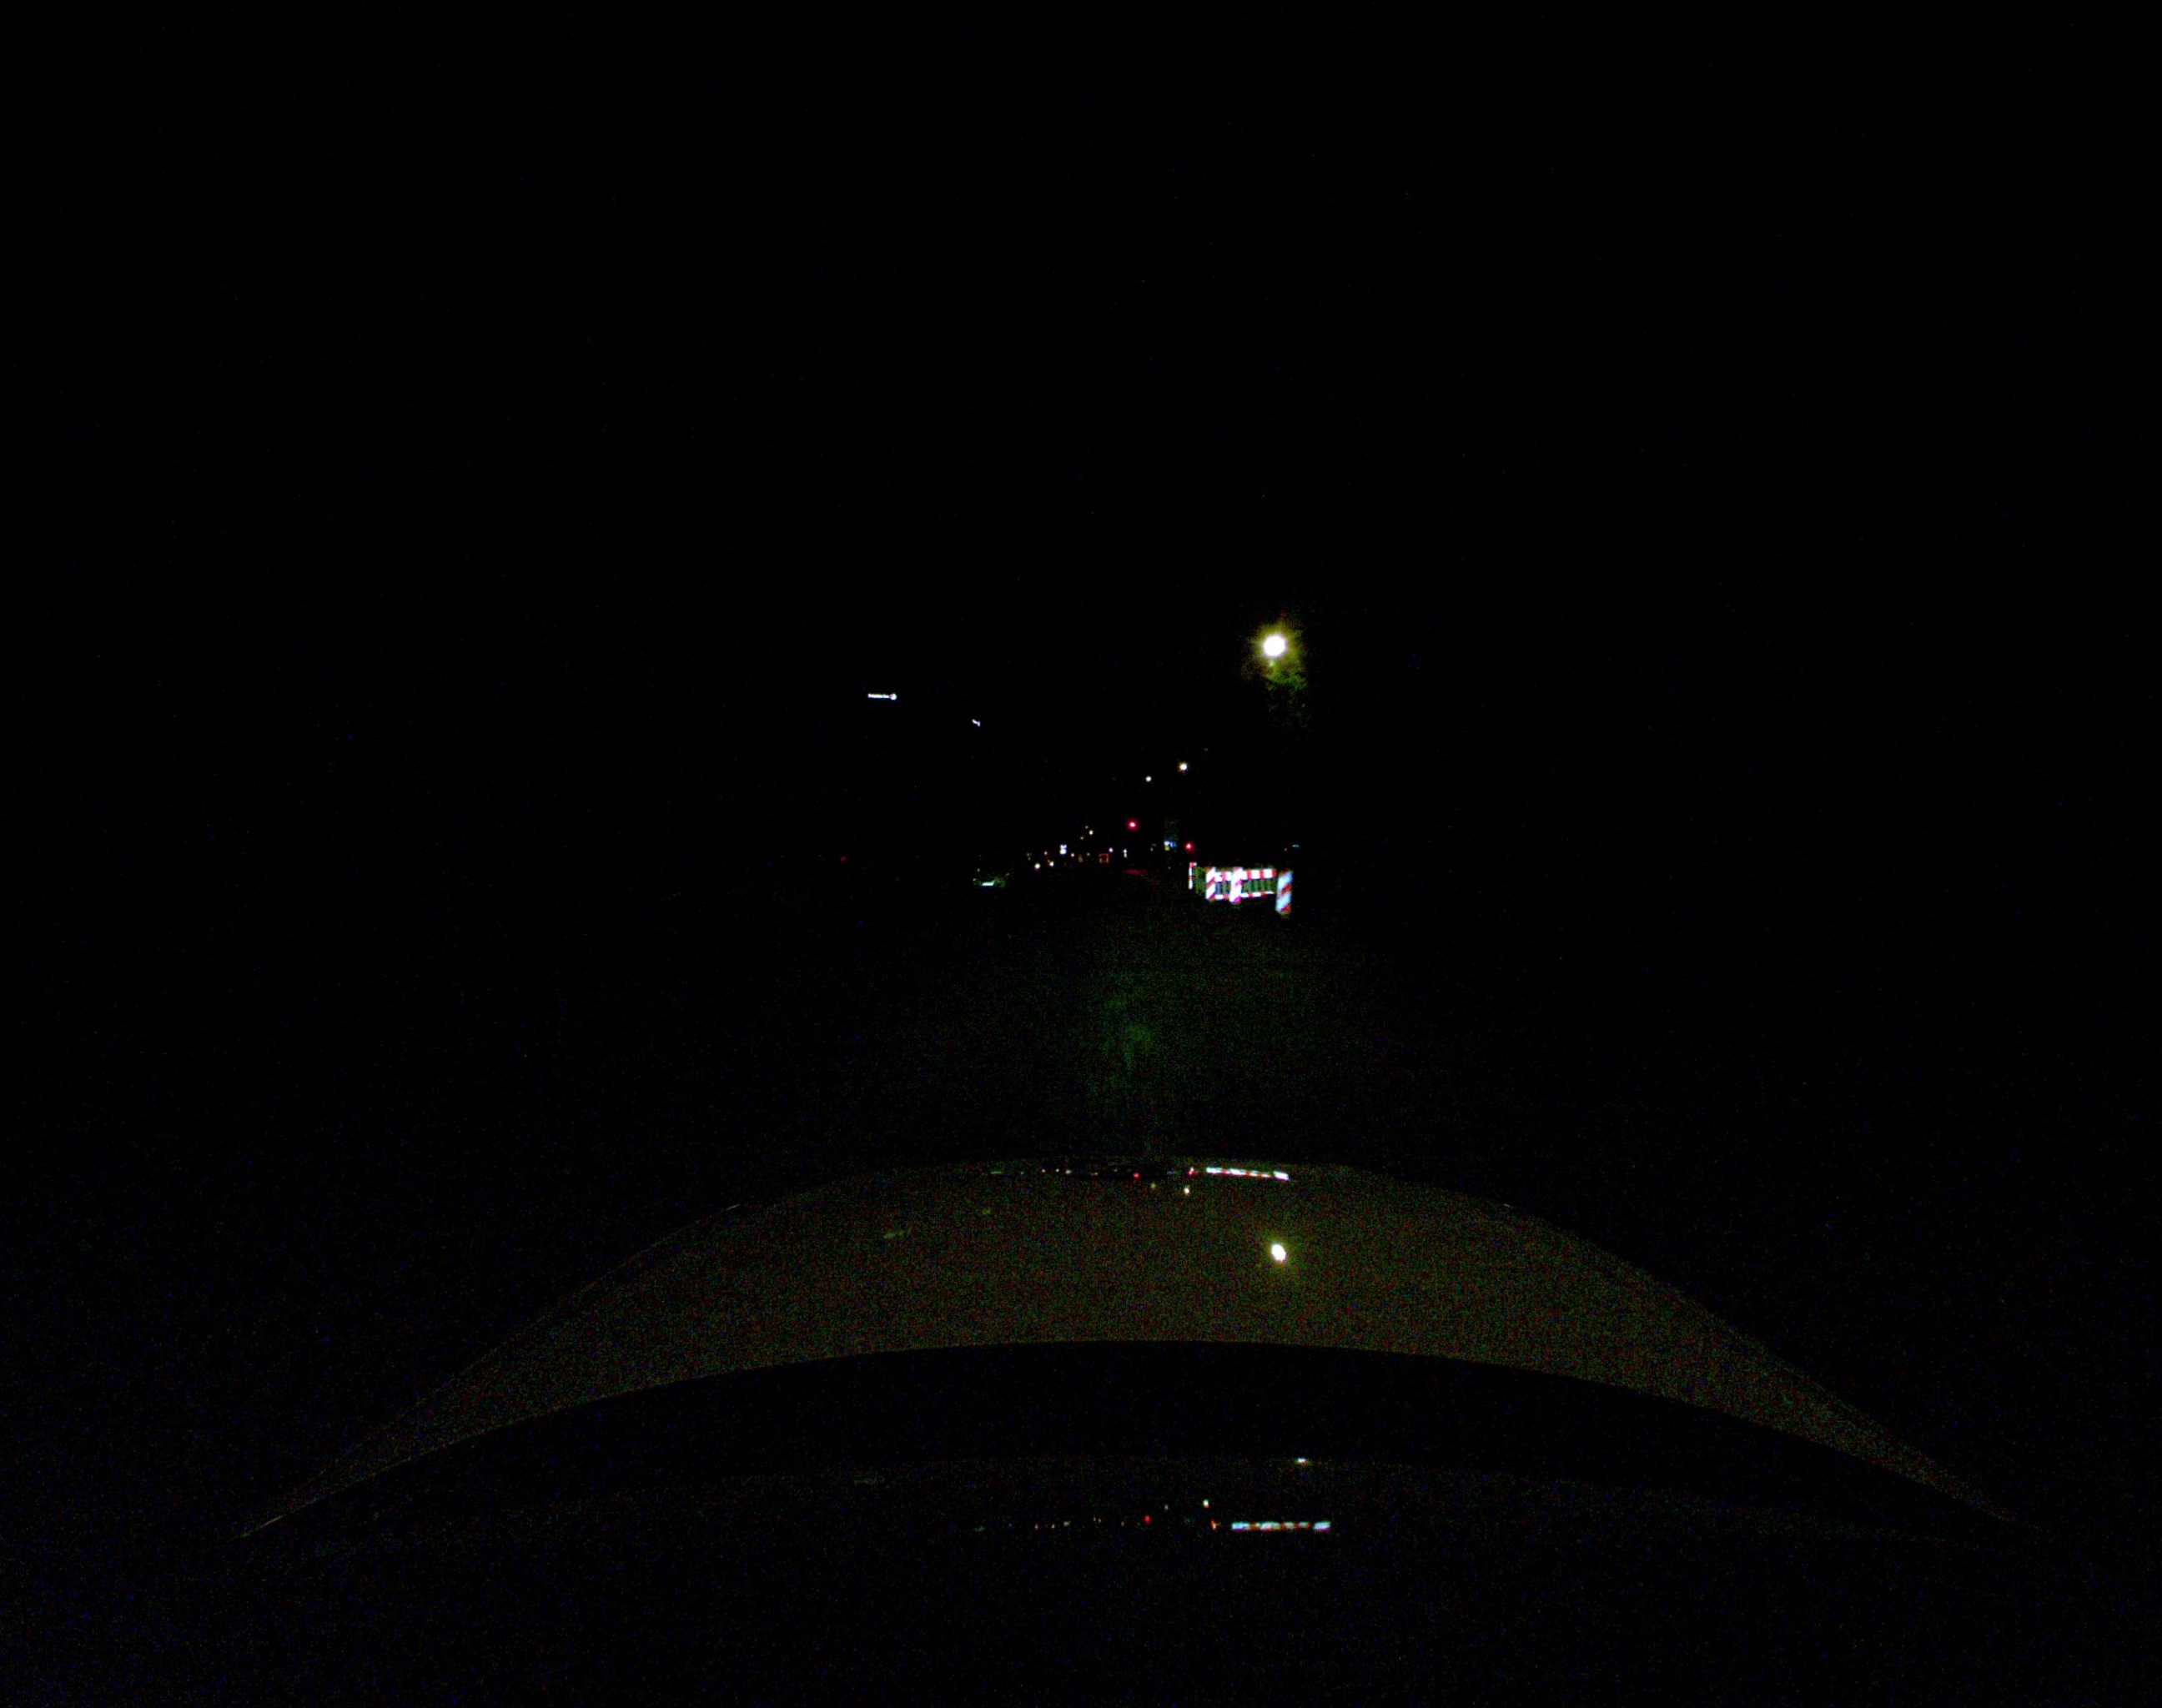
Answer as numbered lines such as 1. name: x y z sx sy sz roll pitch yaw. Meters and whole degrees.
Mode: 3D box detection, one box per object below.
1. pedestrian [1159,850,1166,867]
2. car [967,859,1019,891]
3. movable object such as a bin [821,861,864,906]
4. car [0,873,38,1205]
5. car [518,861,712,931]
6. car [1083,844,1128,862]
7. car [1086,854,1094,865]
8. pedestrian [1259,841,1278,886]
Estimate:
1. pedestrian: 9.915 0.530 99.092 0.738 1.982 0.622 -2 0 -14
2. car: -4.402 1.024 41.321 1.903 1.404 4.342 -2 0 3
3. movable object such as a bin: -8.432 1.023 28.795 1.160 1.496 1.065 -2 0 0
4. car: -6.038 0.896 1.778 1.747 1.526 4.327 -3 0 4
5. car: -12.165 1.067 21.432 3.971 1.571 1.818 -3 0 2
6. car: 7.039 -0.188 235.493 12.391 4.709 4.791 -2 0 -12
7. car: 2.502 1.588 223.399 1.989 2.974 3.996 -2 0 -3
8. pedestrian: 7.739 0.392 33.636 0.568 1.852 0.821 -2 0 3
